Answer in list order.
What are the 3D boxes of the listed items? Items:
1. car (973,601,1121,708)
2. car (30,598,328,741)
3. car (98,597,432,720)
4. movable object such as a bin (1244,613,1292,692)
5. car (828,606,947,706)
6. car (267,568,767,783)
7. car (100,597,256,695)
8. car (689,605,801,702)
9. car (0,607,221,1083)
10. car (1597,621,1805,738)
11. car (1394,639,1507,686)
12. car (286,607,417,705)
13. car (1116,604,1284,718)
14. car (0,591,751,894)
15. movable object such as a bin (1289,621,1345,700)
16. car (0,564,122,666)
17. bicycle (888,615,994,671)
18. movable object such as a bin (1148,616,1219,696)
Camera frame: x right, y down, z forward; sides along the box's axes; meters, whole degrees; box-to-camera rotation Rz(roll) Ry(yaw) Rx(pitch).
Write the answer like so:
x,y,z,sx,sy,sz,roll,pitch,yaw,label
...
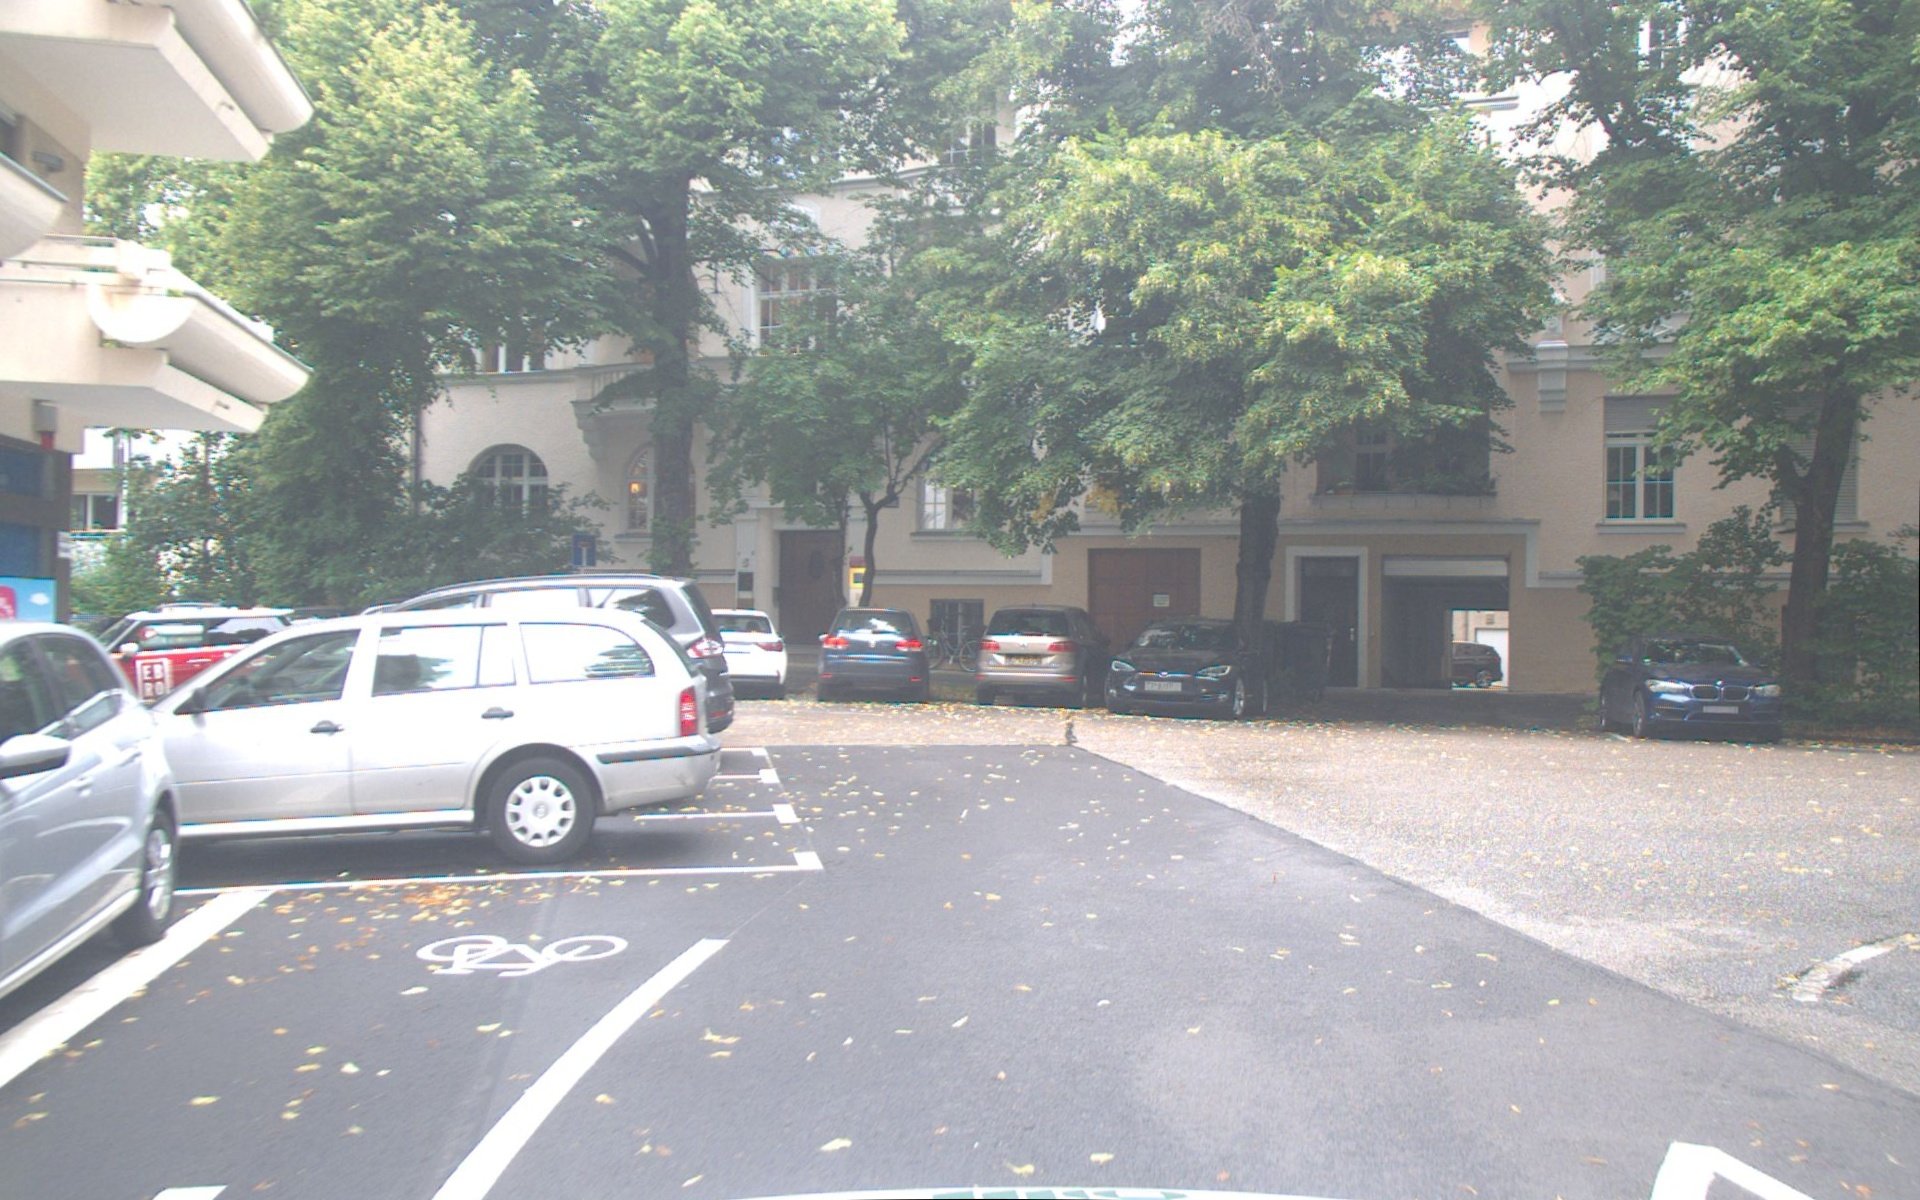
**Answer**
x,y,z,sx,sy,sz,roll,pitch,yaw,label
1.493,0.838,26.801,1.799,1.557,4.028,1,-1,12,car
-9.760,0.846,20.708,3.253,1.660,1.495,1,-1,-30,car
-7.983,0.658,19.070,3.409,1.307,1.517,1,0,-28,car
5.589,0.935,29.980,0.698,1.371,1.374,1,0,17,movable object such as a bin
-1.219,0.852,26.845,1.756,1.456,3.997,1,0,-4,car
-3.957,0.624,15.237,4.147,1.713,1.896,-1,0,-13,car
-14.071,0.777,29.966,1.670,1.629,3.987,1,0,-13,car
-3.590,0.837,27.491,1.686,1.456,3.992,1,0,-8,car
-3.872,0.768,5.774,1.533,1.446,3.822,-1,0,-12,car
10.012,1.046,22.674,1.799,1.407,4.345,1,-2,13,car
17.667,2.229,59.678,3.762,1.545,1.658,1,0,12,car
-10.959,0.961,30.022,1.670,1.629,3.987,1,0,-13,car
3.698,0.941,24.855,1.668,1.492,4.289,2,-2,19,car
-3.423,0.758,10.003,4.153,1.480,1.716,-2,0,-12,car
6.350,1.052,29.346,0.844,1.328,1.433,3,0,15,movable object such as a bin
-16.017,0.232,28.670,1.670,1.629,3.987,1,0,-13,car
-0.404,0.906,35.318,2.182,1.135,0.577,1,-1,18,bicycle
4.091,1.005,30.223,1.125,1.372,1.157,1,0,15,movable object such as a bin
